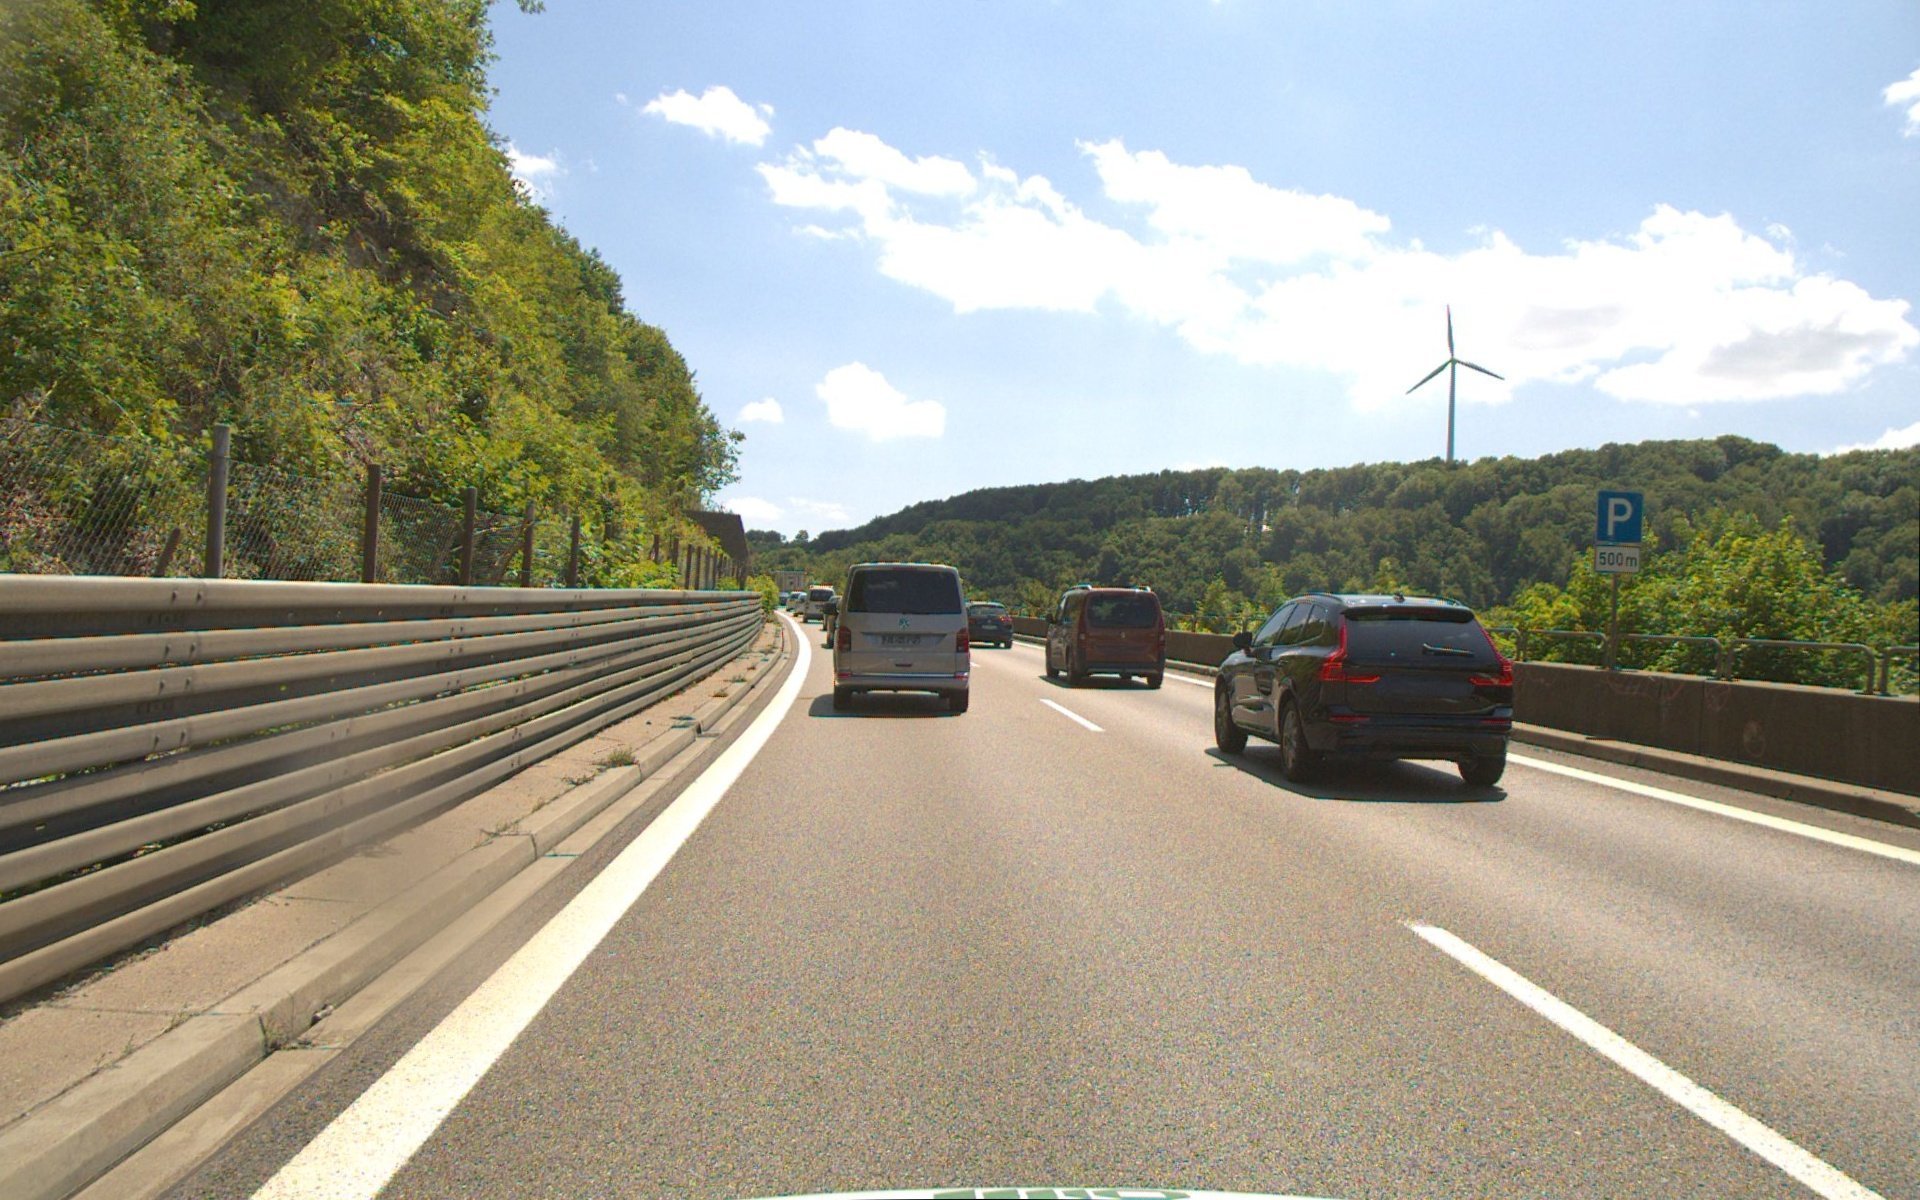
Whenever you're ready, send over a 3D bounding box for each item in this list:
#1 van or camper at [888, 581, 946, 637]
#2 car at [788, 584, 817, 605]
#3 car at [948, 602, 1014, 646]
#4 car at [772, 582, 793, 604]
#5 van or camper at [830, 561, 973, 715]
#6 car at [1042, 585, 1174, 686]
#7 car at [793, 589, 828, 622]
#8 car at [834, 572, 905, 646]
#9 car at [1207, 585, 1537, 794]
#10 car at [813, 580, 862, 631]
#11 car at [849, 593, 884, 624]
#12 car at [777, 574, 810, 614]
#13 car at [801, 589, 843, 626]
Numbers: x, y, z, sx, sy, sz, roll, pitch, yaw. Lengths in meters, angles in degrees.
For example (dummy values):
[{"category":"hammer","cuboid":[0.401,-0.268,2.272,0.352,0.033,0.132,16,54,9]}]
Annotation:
[{"category":"van or camper","cuboid":[-2.114,0.421,79.918,2.222,2.596,4.727,1,0,-8]},{"category":"car","cuboid":[-12.668,-0.436,132.754,2.102,1.635,5.070,2,0,-7]},{"category":"car","cuboid":[0.653,0.765,54.246,1.734,1.400,3.588,1,0,-6]},{"category":"car","cuboid":[-17.101,-0.622,159.520,1.955,2.049,3.994,1,-1,-6]},{"category":"van or camper","cuboid":[-0.885,0.496,23.652,1.838,1.983,4.291,1,0,-3]},{"category":"car","cuboid":[2.796,0.664,32.208,1.797,1.815,4.671,1,-1,-5]},{"category":"car","cuboid":[-9.176,0.337,101.490,1.955,1.948,3.994,2,0,-7]},{"category":"car","cuboid":[-2.663,0.268,48.386,1.954,2.049,3.997,1,0,-3]},{"category":"car","cuboid":[3.672,0.747,15.634,1.798,1.662,4.660,1,-1,-2]},{"category":"car","cuboid":[-5.150,0.248,69.613,1.954,2.049,3.997,1,-1,-4]},{"category":"car","cuboid":[-6.431,0.597,113.198,1.957,2.049,3.991,1,0,-9]},{"category":"car","cuboid":[-21.251,-0.738,210.847,3.966,4.957,10.095,1,0,-6]},{"category":"car","cuboid":[-7.195,0.404,85.967,1.956,1.849,3.994,1,0,-7]}]
